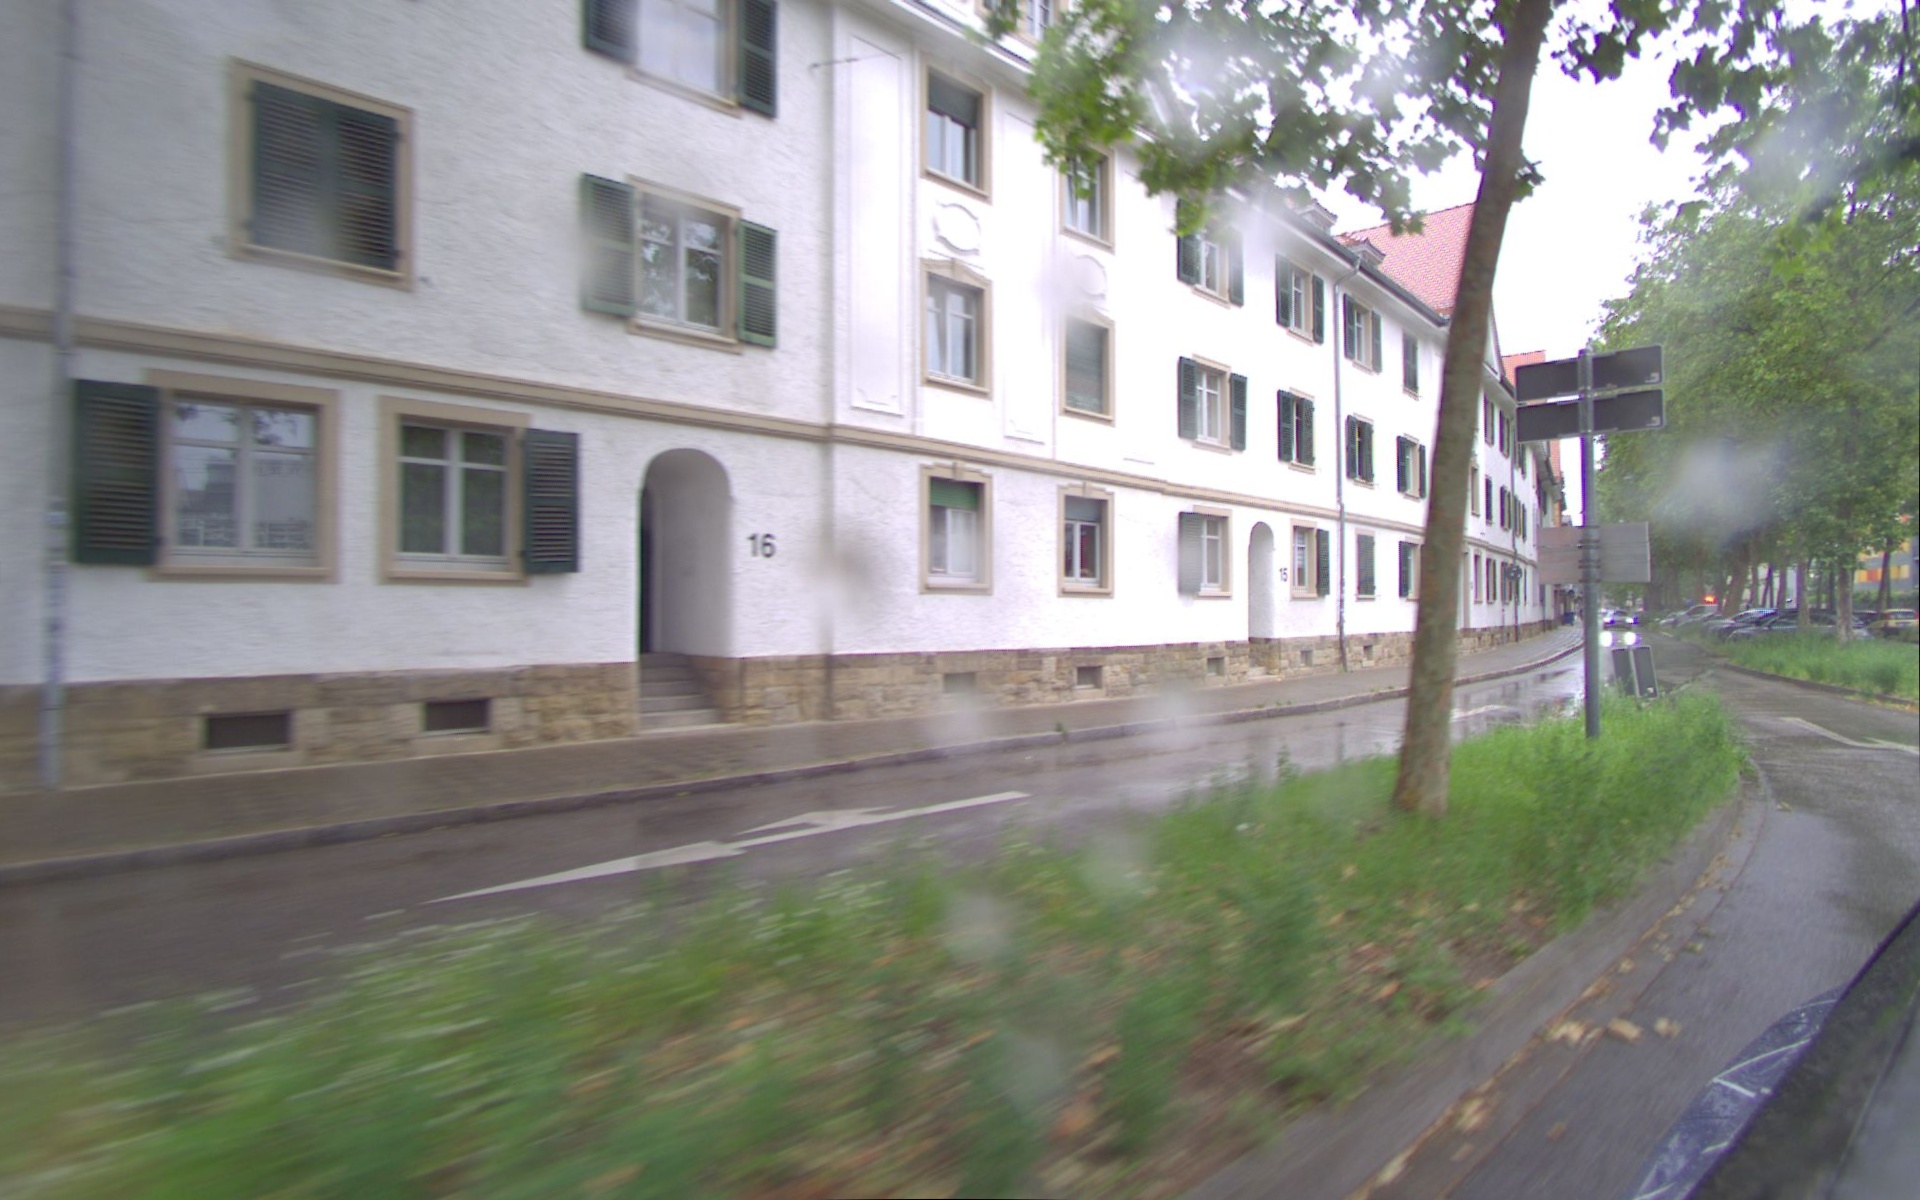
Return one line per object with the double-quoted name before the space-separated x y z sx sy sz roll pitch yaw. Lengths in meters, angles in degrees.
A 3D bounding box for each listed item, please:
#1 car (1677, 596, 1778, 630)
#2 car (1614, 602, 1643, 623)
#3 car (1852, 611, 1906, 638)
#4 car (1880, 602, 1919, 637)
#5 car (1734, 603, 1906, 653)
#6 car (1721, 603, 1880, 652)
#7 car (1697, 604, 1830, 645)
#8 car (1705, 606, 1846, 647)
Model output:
"car" 50.255 0.802 66.367 1.959 2.039 4.901 1 1 -26
"car" 52.236 0.935 79.049 1.840 1.616 4.163 0 0 35
"car" 54.423 1.432 59.984 1.680 1.466 3.954 1 1 32
"car" 50.285 1.011 53.542 1.680 1.745 3.650 1 1 32
"car" 30.318 0.942 35.821 1.891 1.560 4.238 1 1 -26
"car" 31.326 0.991 37.871 1.712 1.630 4.238 1 1 -26
"car" 35.863 1.045 45.284 1.714 1.633 4.338 0 1 -31
"car" 34.435 1.079 42.891 1.712 1.526 4.342 1 1 -24
